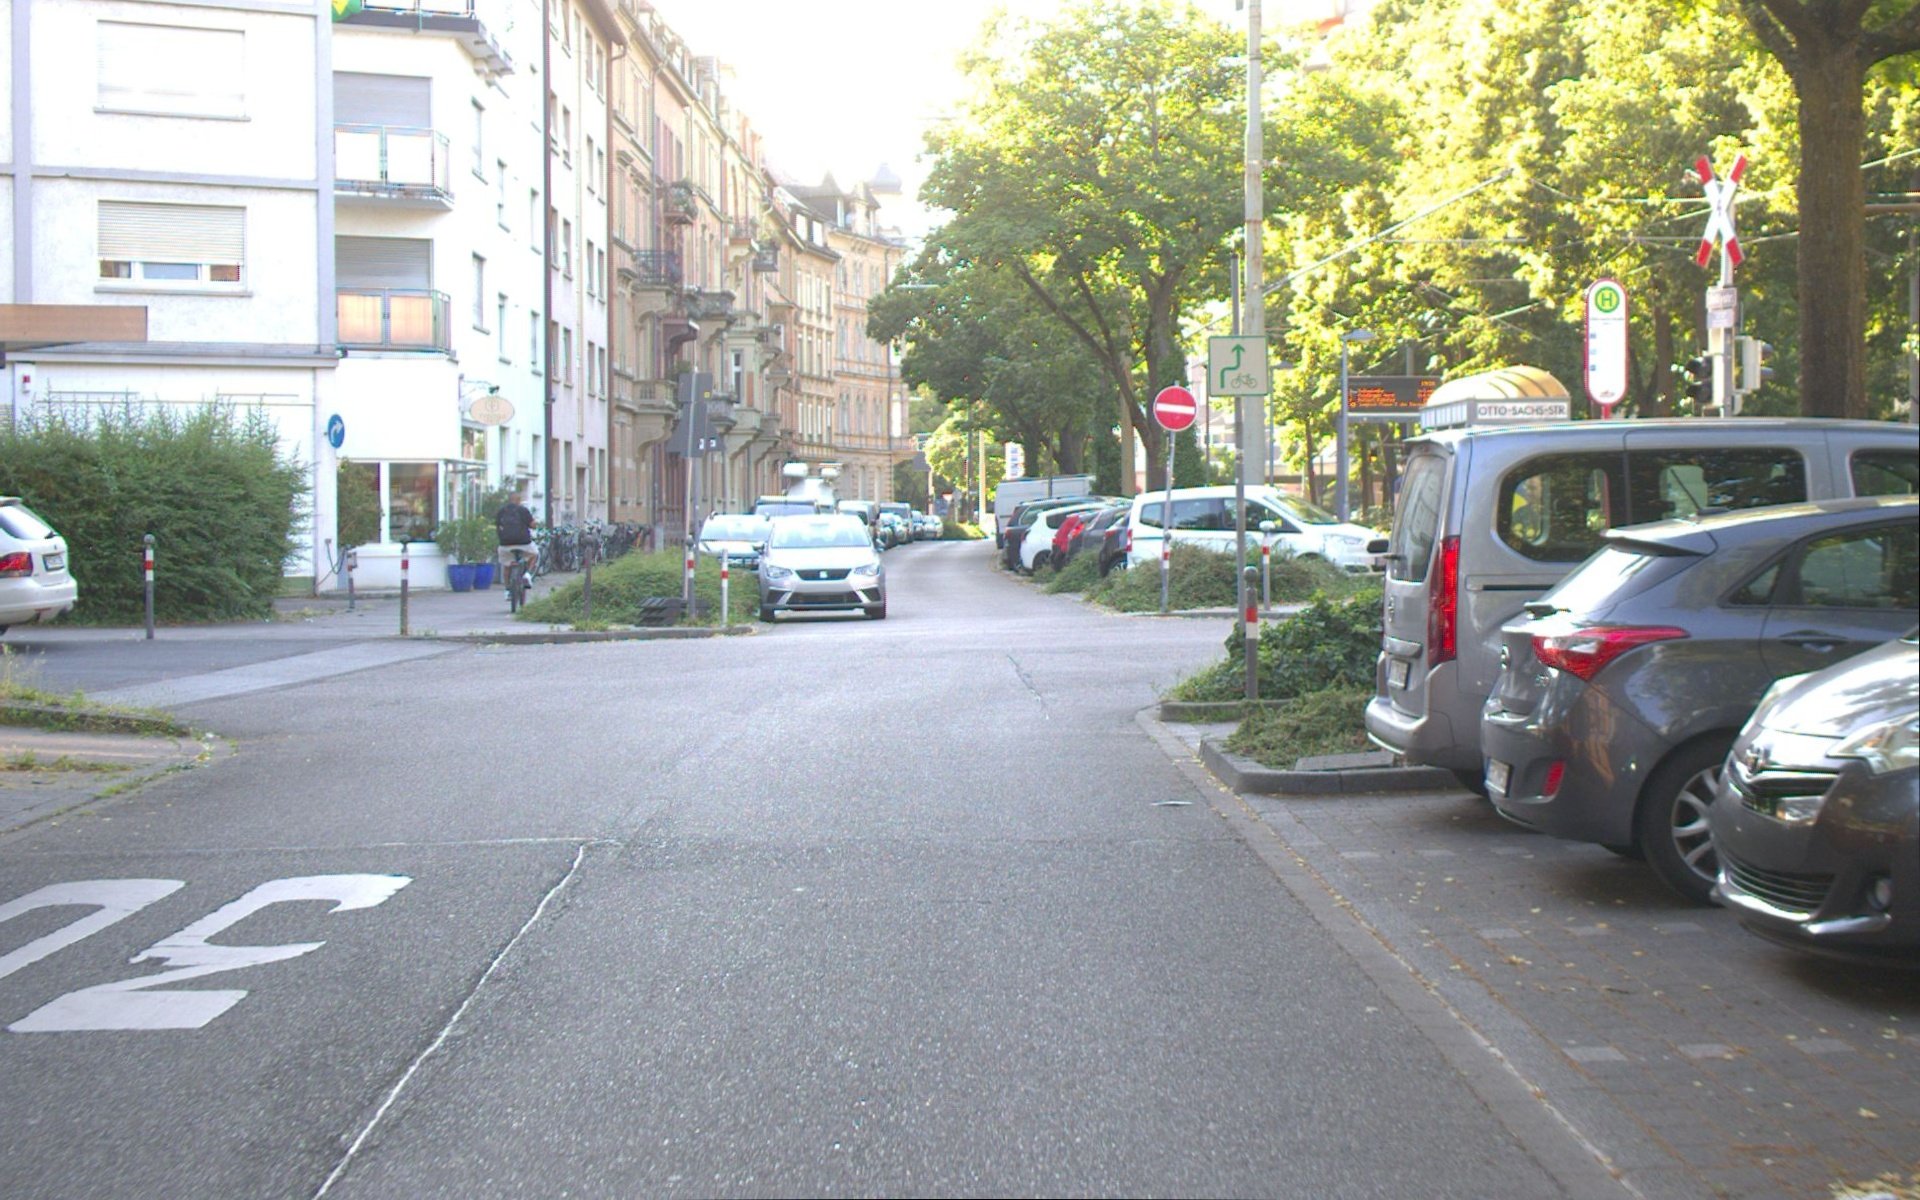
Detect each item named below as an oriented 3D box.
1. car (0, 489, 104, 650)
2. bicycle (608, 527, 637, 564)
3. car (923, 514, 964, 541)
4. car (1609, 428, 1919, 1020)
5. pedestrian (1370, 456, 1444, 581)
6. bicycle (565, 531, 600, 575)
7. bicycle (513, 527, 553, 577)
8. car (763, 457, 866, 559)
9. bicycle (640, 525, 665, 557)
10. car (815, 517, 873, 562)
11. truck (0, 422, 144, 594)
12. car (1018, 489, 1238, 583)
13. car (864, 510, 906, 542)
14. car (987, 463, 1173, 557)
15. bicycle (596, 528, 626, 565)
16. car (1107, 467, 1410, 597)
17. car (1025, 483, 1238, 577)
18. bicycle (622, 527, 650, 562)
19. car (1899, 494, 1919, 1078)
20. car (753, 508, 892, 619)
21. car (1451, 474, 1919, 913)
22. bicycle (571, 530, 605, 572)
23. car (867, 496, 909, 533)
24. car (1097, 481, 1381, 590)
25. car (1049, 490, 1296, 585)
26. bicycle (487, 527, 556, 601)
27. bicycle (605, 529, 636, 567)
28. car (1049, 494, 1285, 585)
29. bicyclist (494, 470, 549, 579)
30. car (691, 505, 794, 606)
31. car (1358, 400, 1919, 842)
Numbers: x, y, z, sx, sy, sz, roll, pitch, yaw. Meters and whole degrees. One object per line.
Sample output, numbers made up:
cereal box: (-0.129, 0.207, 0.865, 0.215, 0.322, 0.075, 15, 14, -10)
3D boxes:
car: (-10.512, -0.290, 32.538, 4.282, 1.445, 1.923, -1, 2, 2)
bicycle: (-9.502, -1.544, 96.828, 0.626, 1.000, 2.176, 0, 2, -1)
car: (-0.902, -4.082, 193.443, 1.711, 1.441, 3.999, -1, 2, 8)
car: (4.530, 0.318, 10.992, 4.434, 1.685, 1.950, -1, 1, -6)
pedestrian: (6.879, -1.251, 52.885, 0.849, 1.904, 0.836, 0, 2, 32)
bicycle: (-8.898, -1.119, 81.037, 0.626, 1.000, 2.176, 0, 2, -1)
bicycle: (-8.744, -0.989, 70.473, 0.531, 1.000, 2.176, 0, 2, 0)
car: (-4.278, -2.758, 102.211, 2.552, 2.877, 5.481, -2, 2, 2)
bicycle: (-9.799, -1.878, 109.606, 0.626, 1.000, 2.176, 0, 2, -1)
car: (-3.966, -2.091, 117.688, 1.710, 1.441, 4.000, -2, 2, 1)
truck: (-14.935, -1.360, 51.302, 4.957, 2.526, 2.000, -2, 2, -35)
car: (3.551, -1.351, 72.949, 4.236, 1.645, 1.854, -4, 1, 36)
car: (-3.575, -3.577, 164.790, 1.711, 1.441, 4.000, -2, 2, 2)
car: (3.782, -2.843, 108.831, 5.259, 2.563, 2.270, -4, 1, 28)
bicycle: (-9.582, -1.479, 94.432, 0.626, 1.000, 2.176, 0, 2, -1)
car: (4.549, -1.027, 52.522, 4.234, 1.647, 1.605, -4, 1, 31)
car: (3.766, -1.535, 75.751, 4.236, 1.743, 1.854, -4, 1, 36)
bicycle: (-9.422, -1.619, 100.037, 0.626, 1.000, 2.176, 0, 2, -1)
car: (4.813, 0.485, 8.353, 4.539, 1.567, 1.950, -1, 1, 2)
car: (-1.961, -0.542, 47.947, 1.710, 1.441, 4.001, -2, 2, -5)
car: (4.293, 0.310, 13.301, 4.539, 1.567, 1.950, -1, 1, 2)
bicycle: (-9.149, -1.208, 84.573, 0.626, 1.000, 2.176, 0, 2, -1)
car: (-3.617, -4.326, 173.183, 1.711, 1.814, 4.000, -2, 2, 4)
car: (4.548, -1.042, 56.023, 4.197, 1.432, 1.699, -4, 1, 25)
car: (3.987, -1.172, 64.589, 4.232, 1.453, 1.606, -4, 1, 24)
bicycle: (-6.527, -0.545, 51.248, 0.712, 1.047, 2.348, -1, 2, 0)
bicycle: (-9.029, -1.388, 91.450, 0.626, 1.000, 2.176, 0, 2, -1)
car: (4.045, -1.184, 67.359, 4.232, 1.453, 1.606, -4, 1, 24)
bicyclist: (-6.530, -1.124, 51.202, 0.712, 1.611, 0.724, -1, 1, 0)
car: (-3.818, -0.816, 60.889, 1.710, 1.667, 4.001, -2, 2, -3)
car: (4.219, 0.070, 15.968, 4.539, 1.908, 1.950, -1, 1, 2)
